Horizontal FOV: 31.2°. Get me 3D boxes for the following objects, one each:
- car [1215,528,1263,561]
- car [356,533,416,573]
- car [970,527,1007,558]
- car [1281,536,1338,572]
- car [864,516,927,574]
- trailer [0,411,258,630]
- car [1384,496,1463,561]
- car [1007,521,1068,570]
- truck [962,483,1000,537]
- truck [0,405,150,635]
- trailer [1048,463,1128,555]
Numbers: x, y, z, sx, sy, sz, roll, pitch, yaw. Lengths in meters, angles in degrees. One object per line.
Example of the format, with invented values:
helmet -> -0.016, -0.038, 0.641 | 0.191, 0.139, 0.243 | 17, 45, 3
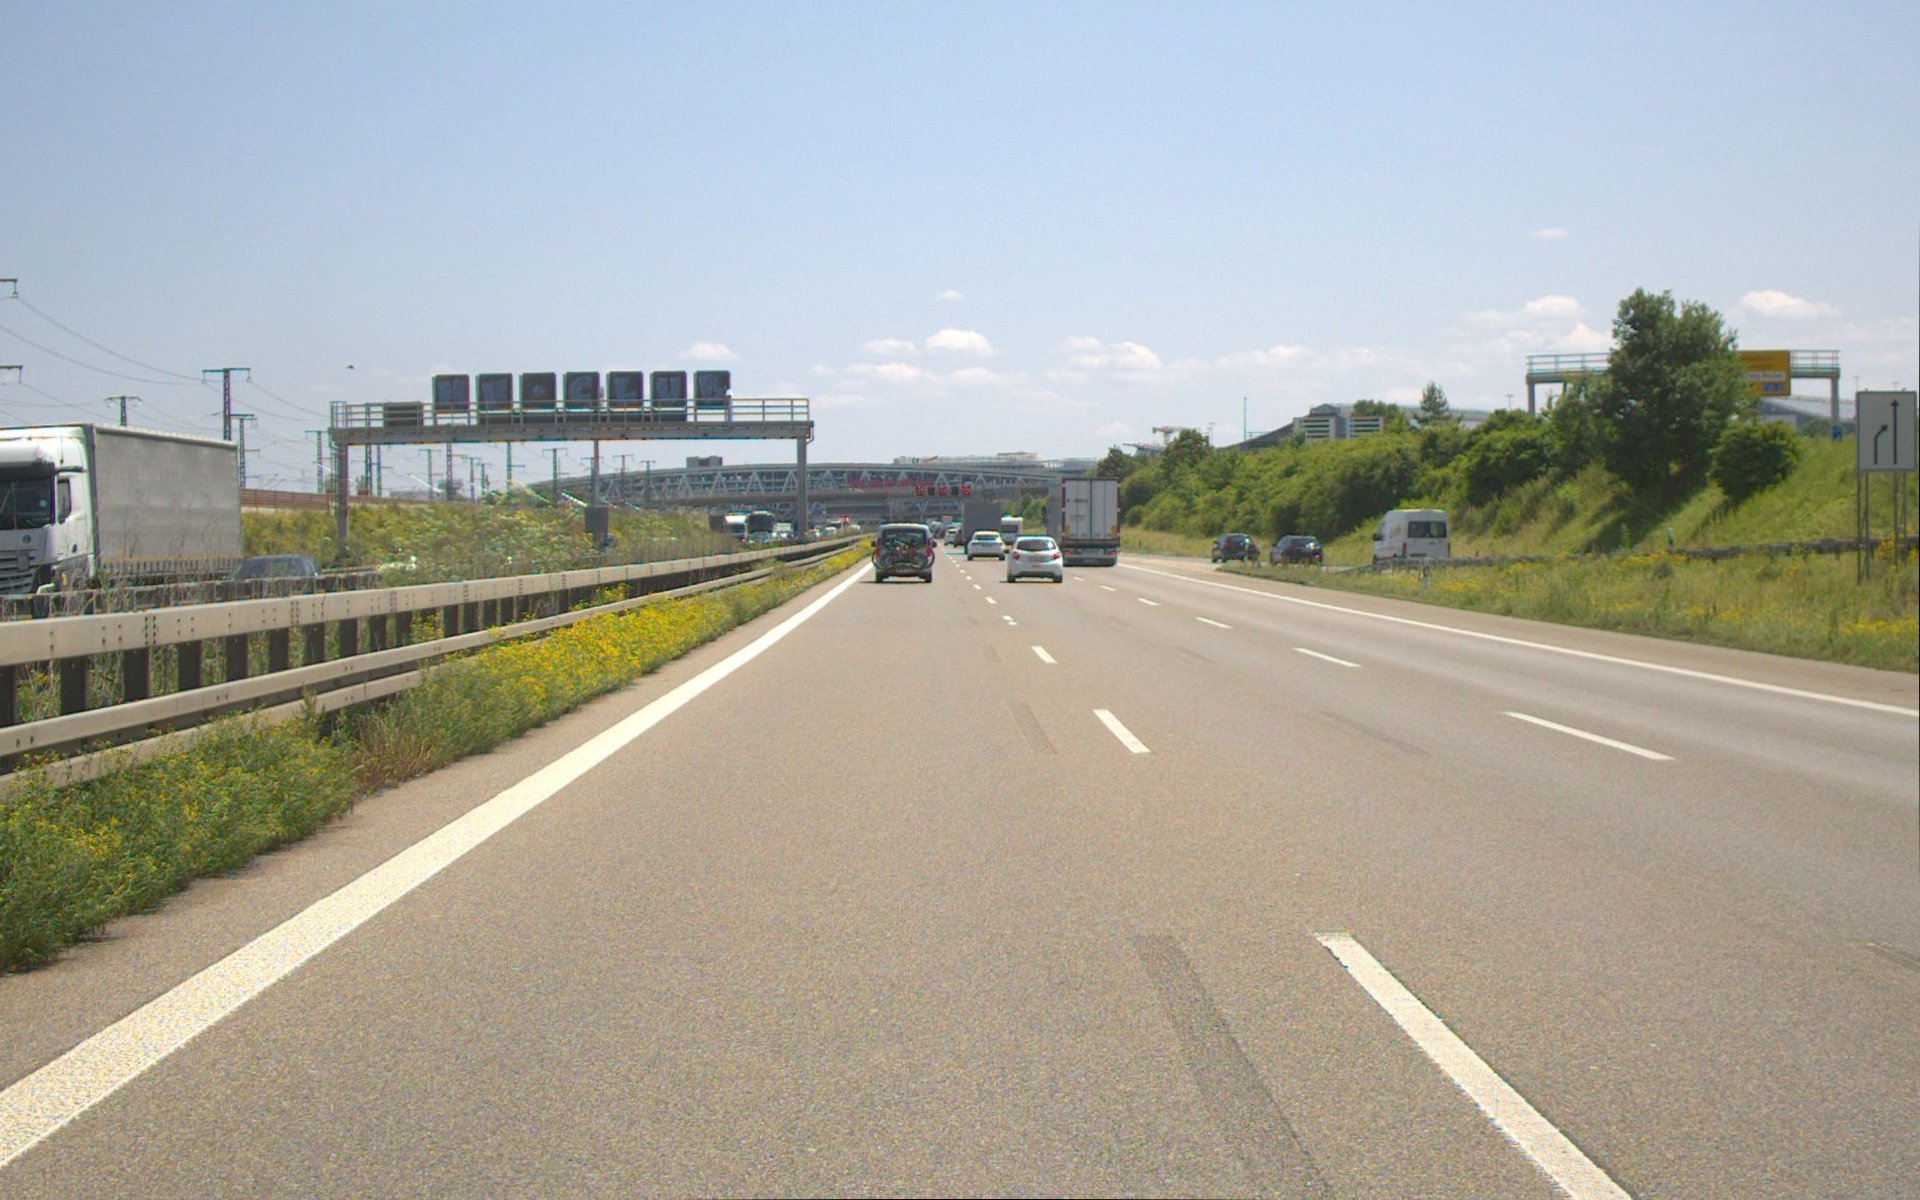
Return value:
car -> 14.340, -2.846, 176.839 | 1.993, 1.590, 4.000 | 2, 0, -1
car -> -22.444, -1.842, 134.578 | 1.720, 1.539, 3.809 | 0, 1, 0
car -> 1.463, -2.934, 176.155 | 1.881, 1.521, 4.000 | 1, 1, 1
car -> 15.923, -2.092, 156.760 | 1.993, 1.503, 4.000 | 2, 0, -3
car -> -1.986, -1.708, 107.080 | 1.881, 1.769, 4.000 | 0, 0, 0
trailer -> -17.286, -1.609, 70.933 | 2.730, 4.060, 13.530 | -1, 1, 0
car -> 18.450, -2.859, 137.183 | 2.274, 2.519, 5.400 | 0, 1, -1
car -> 2.486, -1.721, 109.521 | 1.881, 1.521, 4.000 | 1, 1, 2
truck -> 1.317, -5.702, 218.681 | 2.355, 3.404, 6.057 | 0, 1, 0
truck -> -17.308, -1.475, 64.253 | 2.730, 4.058, 6.381 | -1, 1, 0
trailer -> 5.765, -4.136, 156.539 | 3.177, 4.045, 9.440 | -1, 1, 0
